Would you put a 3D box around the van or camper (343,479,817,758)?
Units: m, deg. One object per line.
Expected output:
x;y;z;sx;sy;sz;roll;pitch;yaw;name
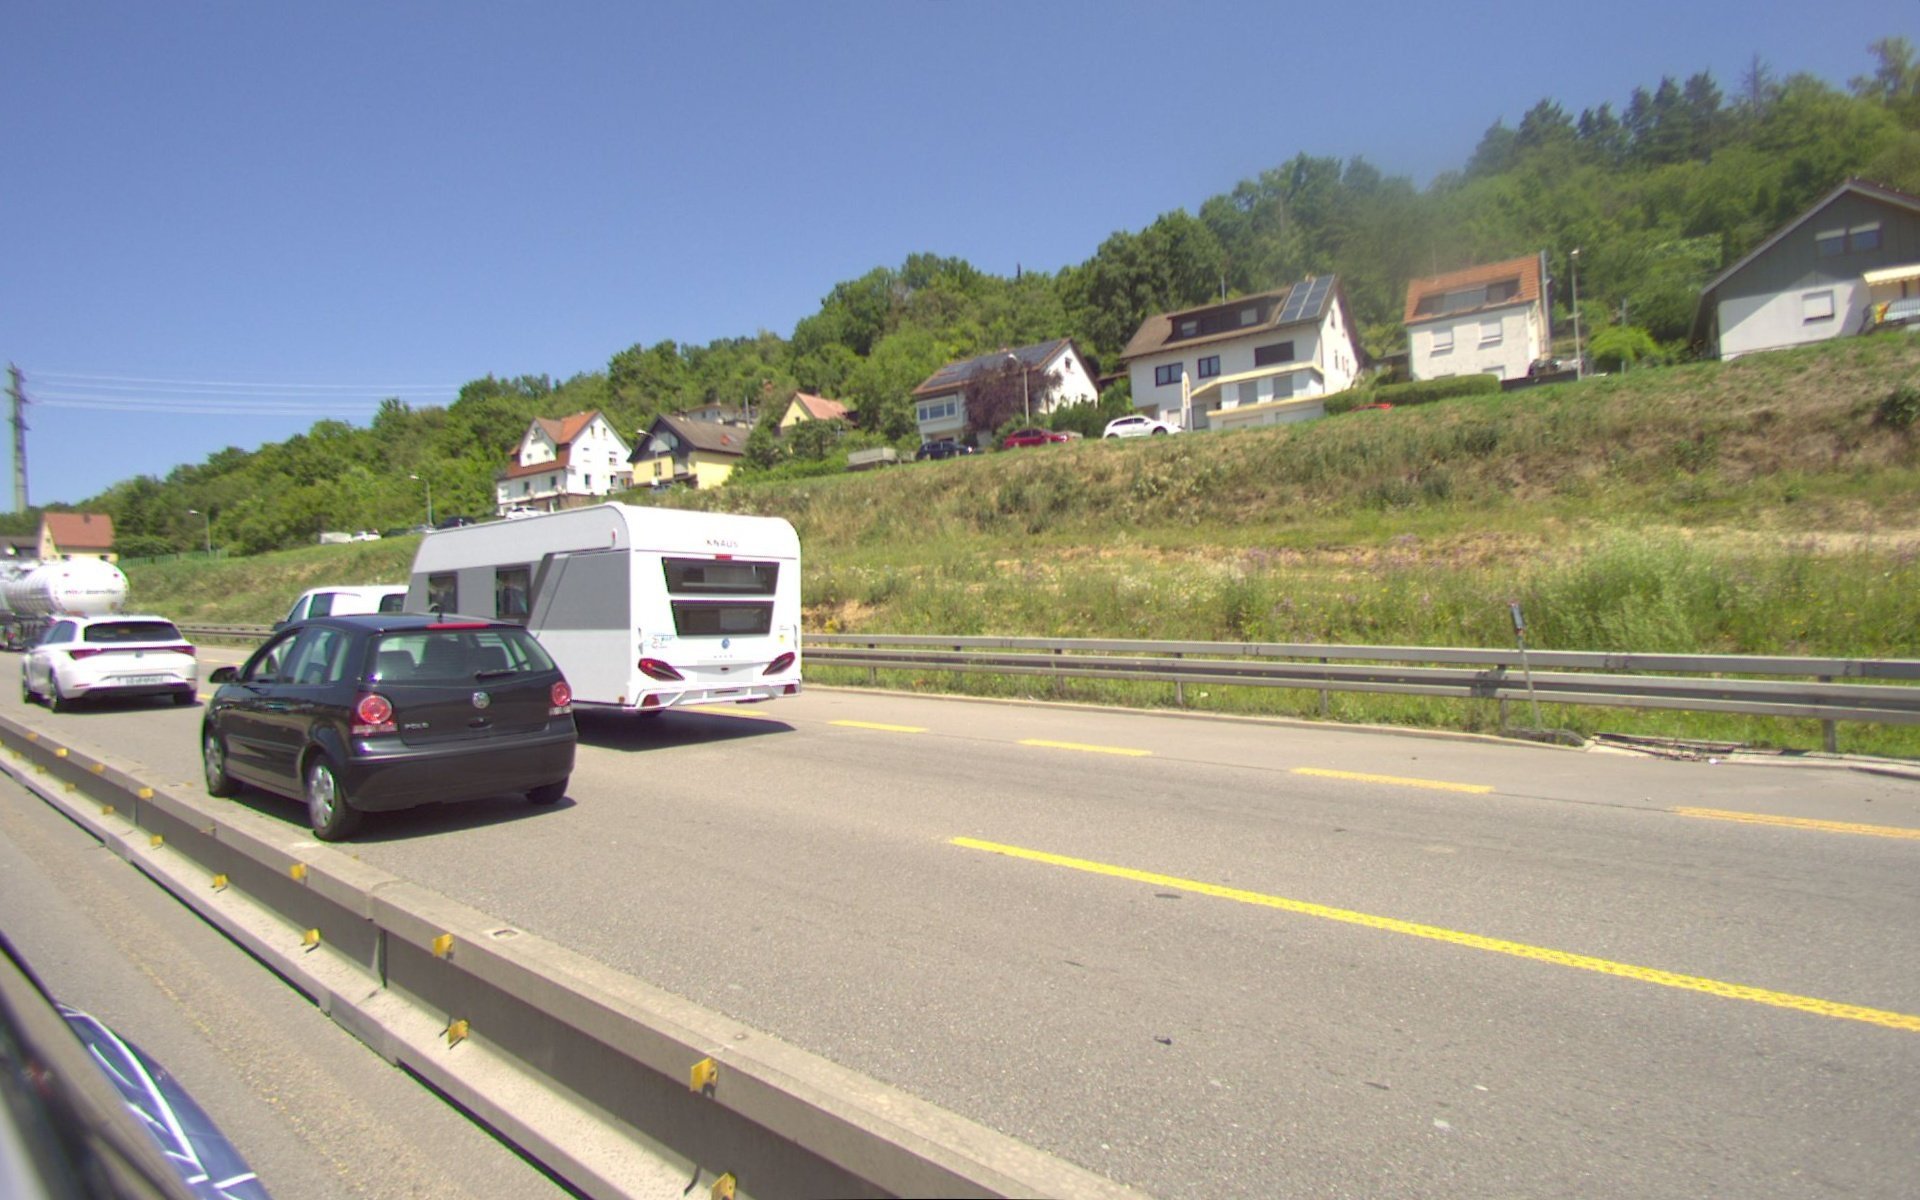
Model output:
-5.370;0.232;13.254;7.853;2.696;2.333;-1;-1;41;van or camper

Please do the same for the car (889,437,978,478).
-1.538;-8.151;58.260;4.751;1.807;2.160;0;1;34;car

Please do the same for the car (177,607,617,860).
-4.385;0.792;7.655;3.814;1.424;1.649;-1;0;40;car

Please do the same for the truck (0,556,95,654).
-37.829;0.224;41.369;6.272;3.700;2.751;-1;0;40;truck

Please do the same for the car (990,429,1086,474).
4.277;-8.124;55.612;4.794;1.807;2.326;0;1;38;car

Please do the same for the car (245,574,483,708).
-10.439;0.653;17.522;5.340;1.986;1.973;-1;-1;41;car

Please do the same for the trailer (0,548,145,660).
-33.438;0.207;37.648;11.785;3.621;2.689;-1;0;40;trailer

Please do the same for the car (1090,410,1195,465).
9.308;-8.251;51.835;4.811;2.056;2.326;0;1;38;car

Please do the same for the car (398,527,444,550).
-50.052;-5.695;94.004;4.421;1.886;1.976;0;1;35;car

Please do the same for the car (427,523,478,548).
-45.737;-5.801;91.235;4.962;2.023;2.052;0;1;36;car

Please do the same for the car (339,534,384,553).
-58.958;-5.558;99.642;4.537;1.668;1.979;0;1;31;car

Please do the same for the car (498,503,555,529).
-36.149;-6.997;84.397;4.999;1.807;1.977;0;1;34;car

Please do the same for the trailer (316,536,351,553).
-63.392;-5.582;102.419;3.025;1.527;1.889;0;1;30;trailer

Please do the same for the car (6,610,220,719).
-13.740;0.939;16.316;4.633;1.491;1.893;-1;-1;40;car
